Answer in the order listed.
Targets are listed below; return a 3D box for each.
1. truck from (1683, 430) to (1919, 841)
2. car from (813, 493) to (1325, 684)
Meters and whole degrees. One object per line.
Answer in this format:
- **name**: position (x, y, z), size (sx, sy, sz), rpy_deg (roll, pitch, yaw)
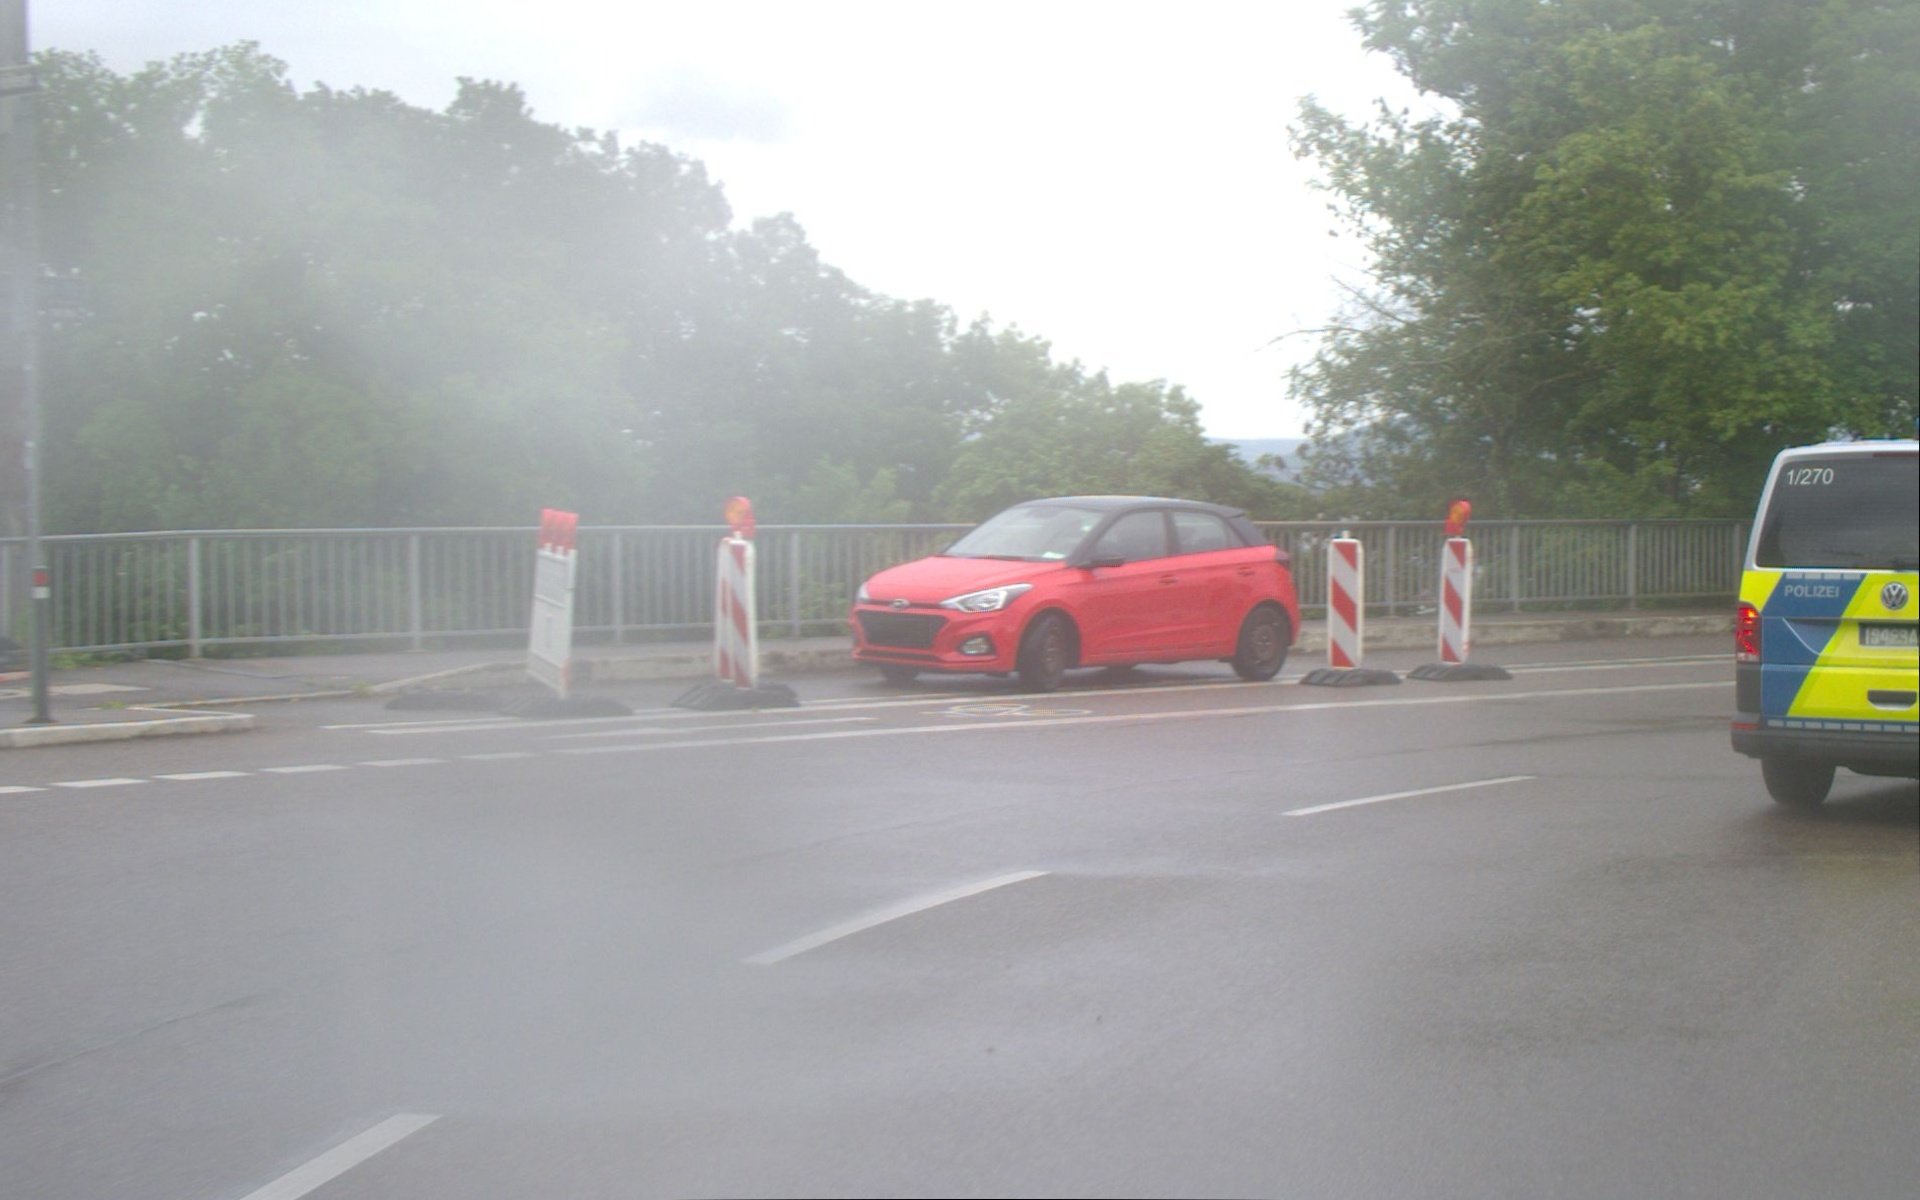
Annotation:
- **truck**: position (5.824, 0.148, 18.864), size (1.997, 2.007, 4.725), rpy_deg (2, 1, 33)
- **car**: position (0.930, -0.105, 27.331), size (1.690, 1.393, 4.125), rpy_deg (2, 2, 45)
